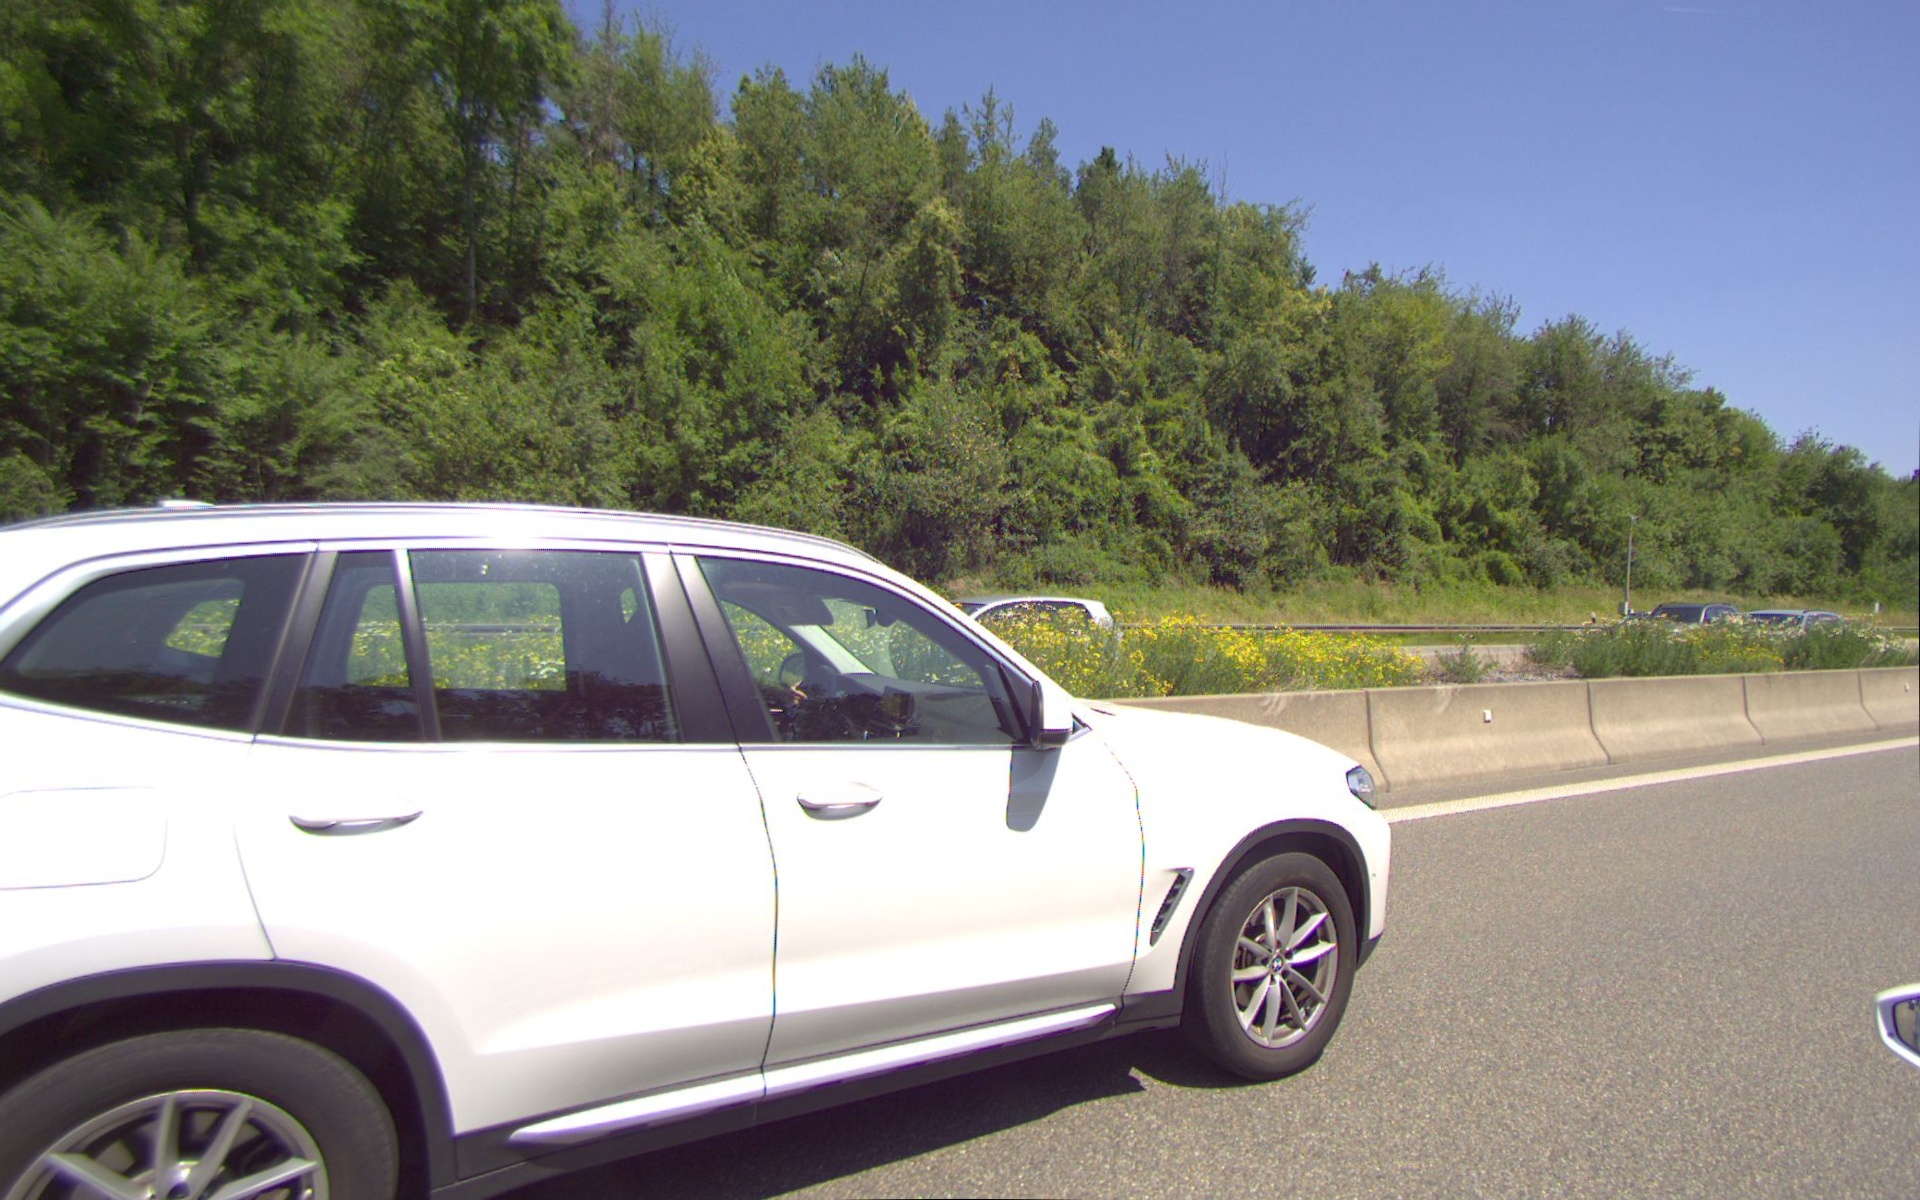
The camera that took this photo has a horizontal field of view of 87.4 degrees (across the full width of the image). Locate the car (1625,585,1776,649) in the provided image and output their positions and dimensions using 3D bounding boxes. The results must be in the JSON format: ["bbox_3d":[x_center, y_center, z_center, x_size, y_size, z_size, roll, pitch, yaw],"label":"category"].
[{"bbox_3d":[20.689,0.493,28.036,4.115,1.611,1.983,2,-1,-31],"label":"car"}]

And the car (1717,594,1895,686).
[{"bbox_3d":[20.340,0.948,24.151,3.951,2.040,1.985,2,-1,-29],"label":"car"}]

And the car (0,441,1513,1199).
[{"bbox_3d":[-0.577,0.641,3.174,4.898,1.717,1.855,1,0,-31],"label":"car"}]

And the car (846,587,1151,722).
[{"bbox_3d":[0.516,0.645,12.407,3.523,1.461,1.470,2,-1,-31],"label":"car"}]

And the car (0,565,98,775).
[{"bbox_3d":[-11.524,0.615,9.655,4.511,2.040,1.985,2,-1,-29],"label":"car"}]
